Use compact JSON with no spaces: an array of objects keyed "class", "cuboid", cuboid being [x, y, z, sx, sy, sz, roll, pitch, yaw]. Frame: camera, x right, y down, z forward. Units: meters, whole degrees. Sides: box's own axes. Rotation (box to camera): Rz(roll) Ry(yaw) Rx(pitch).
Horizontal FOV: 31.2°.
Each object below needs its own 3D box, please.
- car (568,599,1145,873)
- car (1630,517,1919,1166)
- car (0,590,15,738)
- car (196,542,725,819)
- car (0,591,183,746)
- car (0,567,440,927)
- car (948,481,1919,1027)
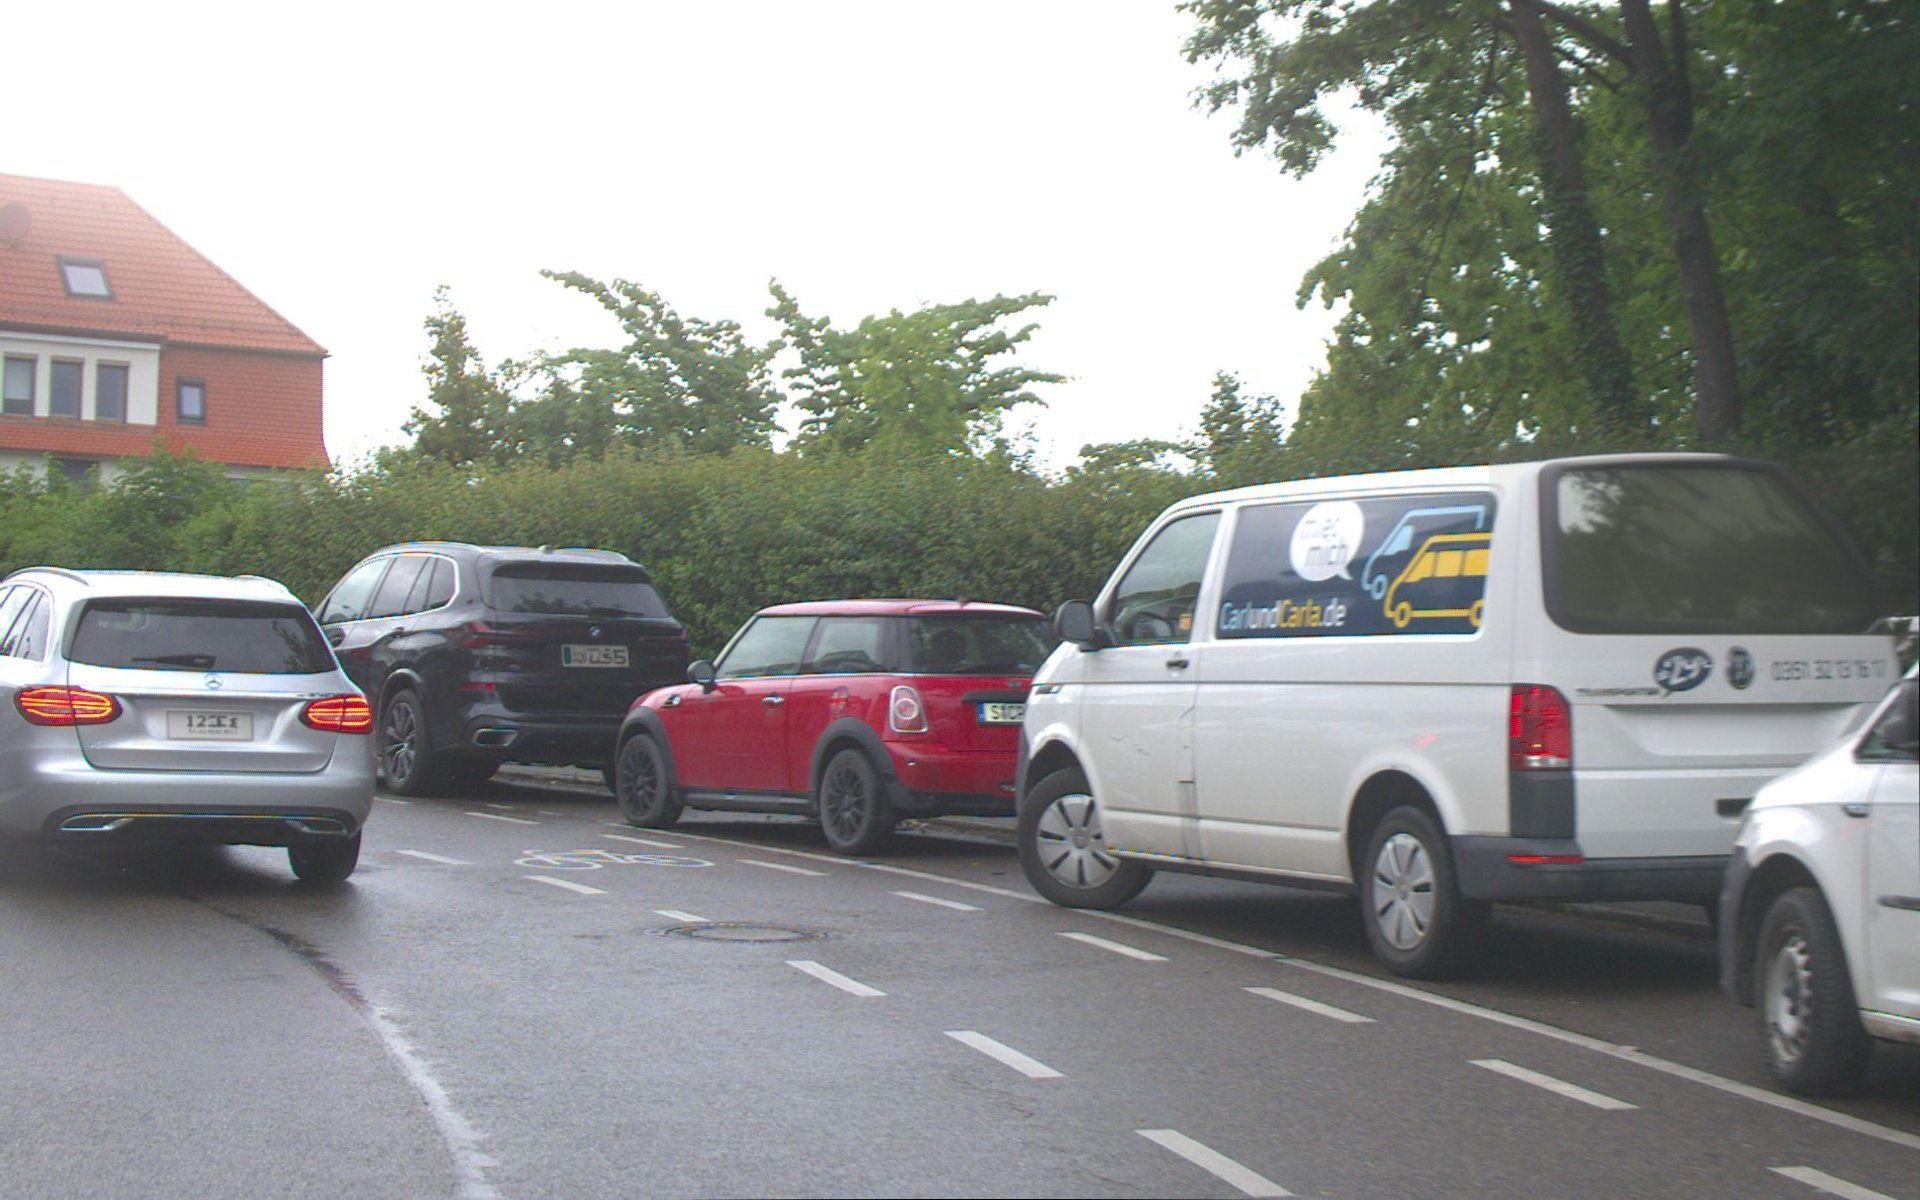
[{"class":"car","cuboid":[-0.707,0.760,20.369,1.671,1.409,3.742,3,-1,-33]},{"class":"car","cuboid":[3.633,0.661,9.146,1.859,1.764,4.380,0,0,-16]},{"class":"car","cuboid":[-12.726,0.628,40.142,1.887,1.657,4.548,5,-2,-32]},{"class":"car","cuboid":[-3.778,0.527,25.167,2.026,1.777,4.899,3,-1,-31]},{"class":"car","cuboid":[-10.092,0.628,35.397,4.639,1.435,1.800,2,-2,45]},{"class":"car","cuboid":[-4.158,0.638,17.123,1.982,1.548,4.298,1,0,-24]},{"class":"car","cuboid":[1.837,0.543,14.793,1.859,1.941,4.808,1,0,-26]}]
